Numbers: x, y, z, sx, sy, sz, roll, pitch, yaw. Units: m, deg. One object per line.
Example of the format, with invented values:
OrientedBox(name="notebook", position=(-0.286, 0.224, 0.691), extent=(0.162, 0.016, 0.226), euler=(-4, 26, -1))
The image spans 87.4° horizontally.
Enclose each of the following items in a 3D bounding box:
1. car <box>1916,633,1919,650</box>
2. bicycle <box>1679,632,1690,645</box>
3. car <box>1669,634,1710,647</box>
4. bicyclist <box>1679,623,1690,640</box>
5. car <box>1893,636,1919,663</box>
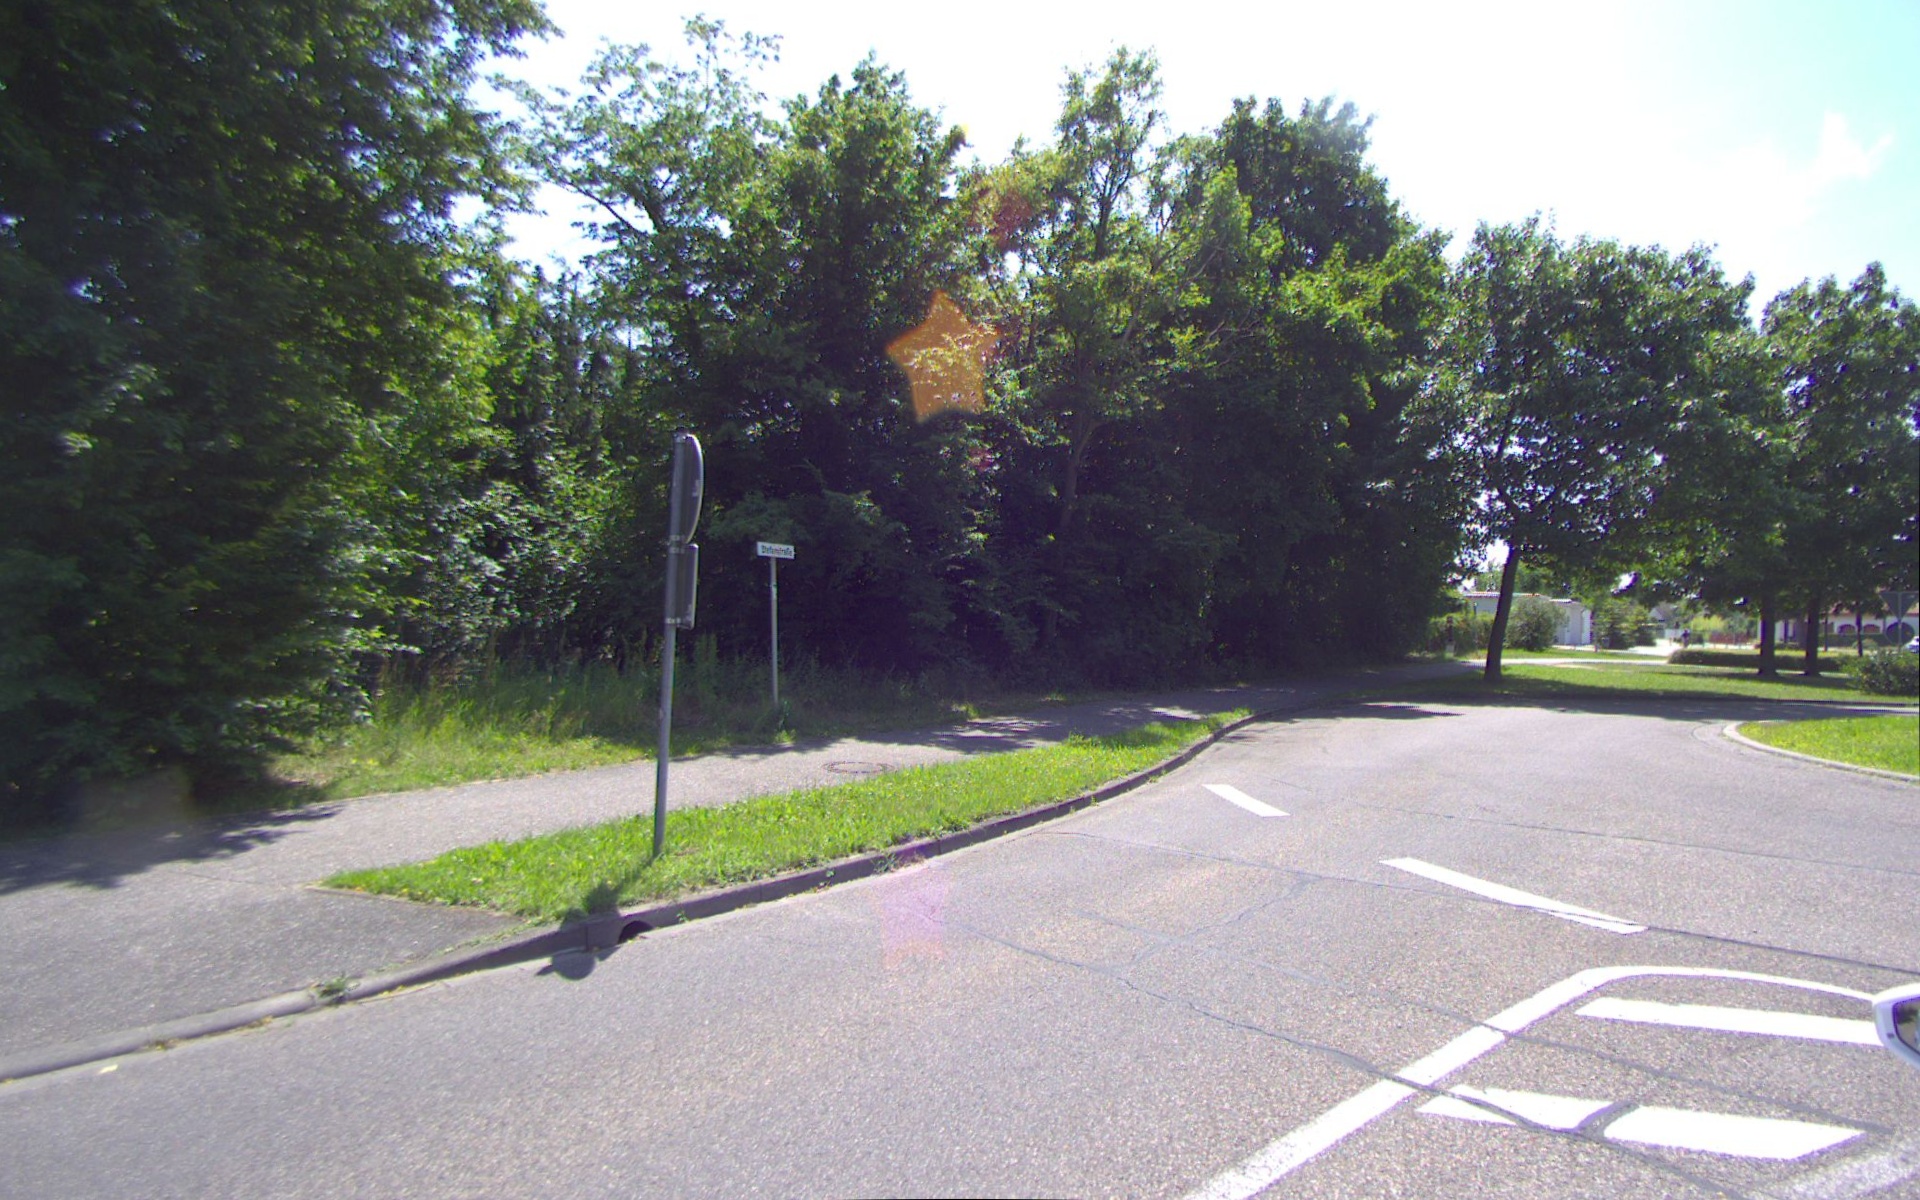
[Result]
OrientedBox(name="car", position=(88.453, 3.746, 90.118), extent=(3.763, 1.563, 1.853), euler=(1, -1, -5))
OrientedBox(name="bicycle", position=(50.643, 2.680, 70.197), extent=(0.589, 0.941, 1.614), euler=(0, -1, 37))
OrientedBox(name="car", position=(78.258, 4.308, 107.827), extent=(1.959, 1.305, 4.003), euler=(1, -1, 8))
OrientedBox(name="bicyclist", position=(50.678, 2.217, 70.250), extent=(0.589, 1.180, 0.646), euler=(0, -1, 37))
OrientedBox(name="car", position=(55.484, 2.863, 58.305), extent=(1.608, 1.505, 3.984), euler=(-1, -2, 38))
